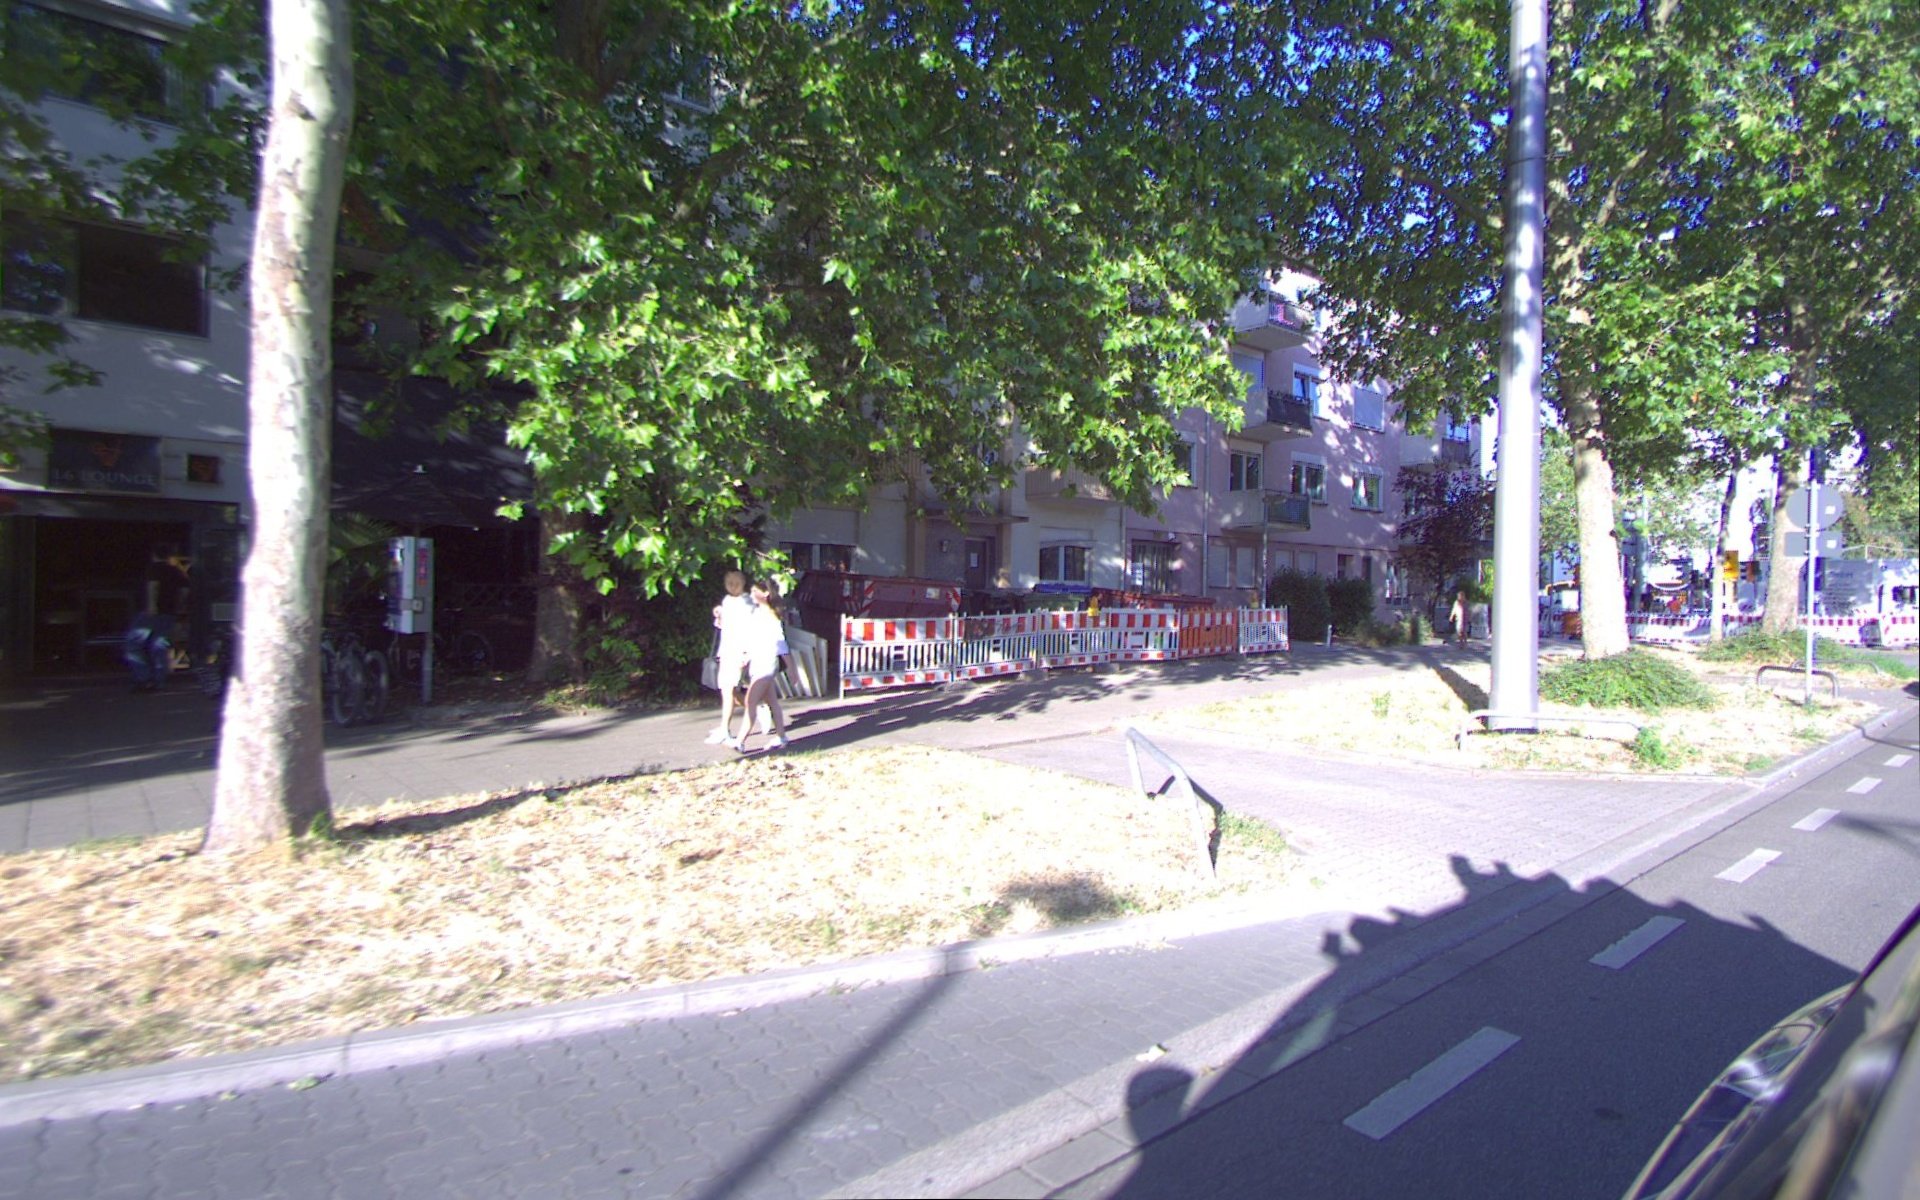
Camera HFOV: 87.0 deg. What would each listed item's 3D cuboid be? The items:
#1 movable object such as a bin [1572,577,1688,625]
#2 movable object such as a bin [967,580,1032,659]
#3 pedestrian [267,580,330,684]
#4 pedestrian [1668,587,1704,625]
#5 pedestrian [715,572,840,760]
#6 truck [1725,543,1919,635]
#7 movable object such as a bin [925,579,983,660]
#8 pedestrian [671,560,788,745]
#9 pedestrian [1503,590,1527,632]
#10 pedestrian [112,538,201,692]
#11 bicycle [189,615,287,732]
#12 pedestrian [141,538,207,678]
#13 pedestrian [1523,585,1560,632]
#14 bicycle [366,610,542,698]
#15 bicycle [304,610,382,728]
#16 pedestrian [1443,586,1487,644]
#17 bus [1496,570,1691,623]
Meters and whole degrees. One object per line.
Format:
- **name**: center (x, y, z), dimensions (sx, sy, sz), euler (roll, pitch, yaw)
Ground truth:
- **movable object such as a bin**: center (34.332, 0.030, 52.037), dimensions (1.959, 2.285, 5.215), euler (-1, 1, -8)
- **movable object such as a bin**: center (0.744, 0.347, 19.379), dimensions (0.822, 1.452, 1.301), euler (1, 0, -19)
- **pedestrian**: center (-9.213, 0.426, 14.093), dimensions (0.687, 1.398, 0.741), euler (1, 0, -36)
- **pedestrian**: center (34.987, 0.295, 48.785), dimensions (0.955, 1.821, 1.072), euler (0, 0, -18)
- **pedestrian**: center (-1.654, 0.554, 9.168), dimensions (0.802, 1.592, 0.791), euler (1, 0, -43)
- **truck**: center (38.167, -0.437, 43.486), dimensions (2.763, 3.586, 8.997), euler (0, 0, -9)
- **movable object such as a bin**: center (-0.131, 0.343, 18.875), dimensions (0.822, 1.452, 1.301), euler (1, 0, -12)
- **pedestrian**: center (-2.228, 0.469, 9.785), dimensions (0.802, 1.688, 0.791), euler (0, 1, -43)
- **pedestrian**: center (23.164, 0.476, 42.231), dimensions (0.573, 1.730, 0.680), euler (3, -2, -8)
- **pedestrian**: center (-10.265, 0.179, 12.934), dimensions (0.736, 1.896, 0.692), euler (1, 0, 34)
- **bicycle**: center (-7.540, 0.704, 10.649), dimensions (0.651, 1.037, 2.384), euler (0, 0, -31)
- **pedestrian**: center (-11.081, 0.100, 14.262), dimensions (0.688, 1.896, 0.740), euler (1, 0, -41)
- **pedestrian**: center (24.204, 0.360, 42.147), dimensions (0.824, 1.894, 1.100), euler (3, -2, -3)
- **bicycle**: center (-6.409, 0.646, 12.915), dimensions (0.647, 0.982, 1.936), euler (2, 2, 37)
- **bicycle**: center (-6.699, 0.677, 10.958), dimensions (0.651, 1.036, 2.384), euler (0, 2, -32)
- **pedestrian**: center (13.354, 0.390, 26.762), dimensions (0.802, 1.493, 0.791), euler (1, 0, -43)
- **bus**: center (48.248, -0.374, 77.620), dimensions (3.034, 3.769, 12.281), euler (0, 1, -41)
